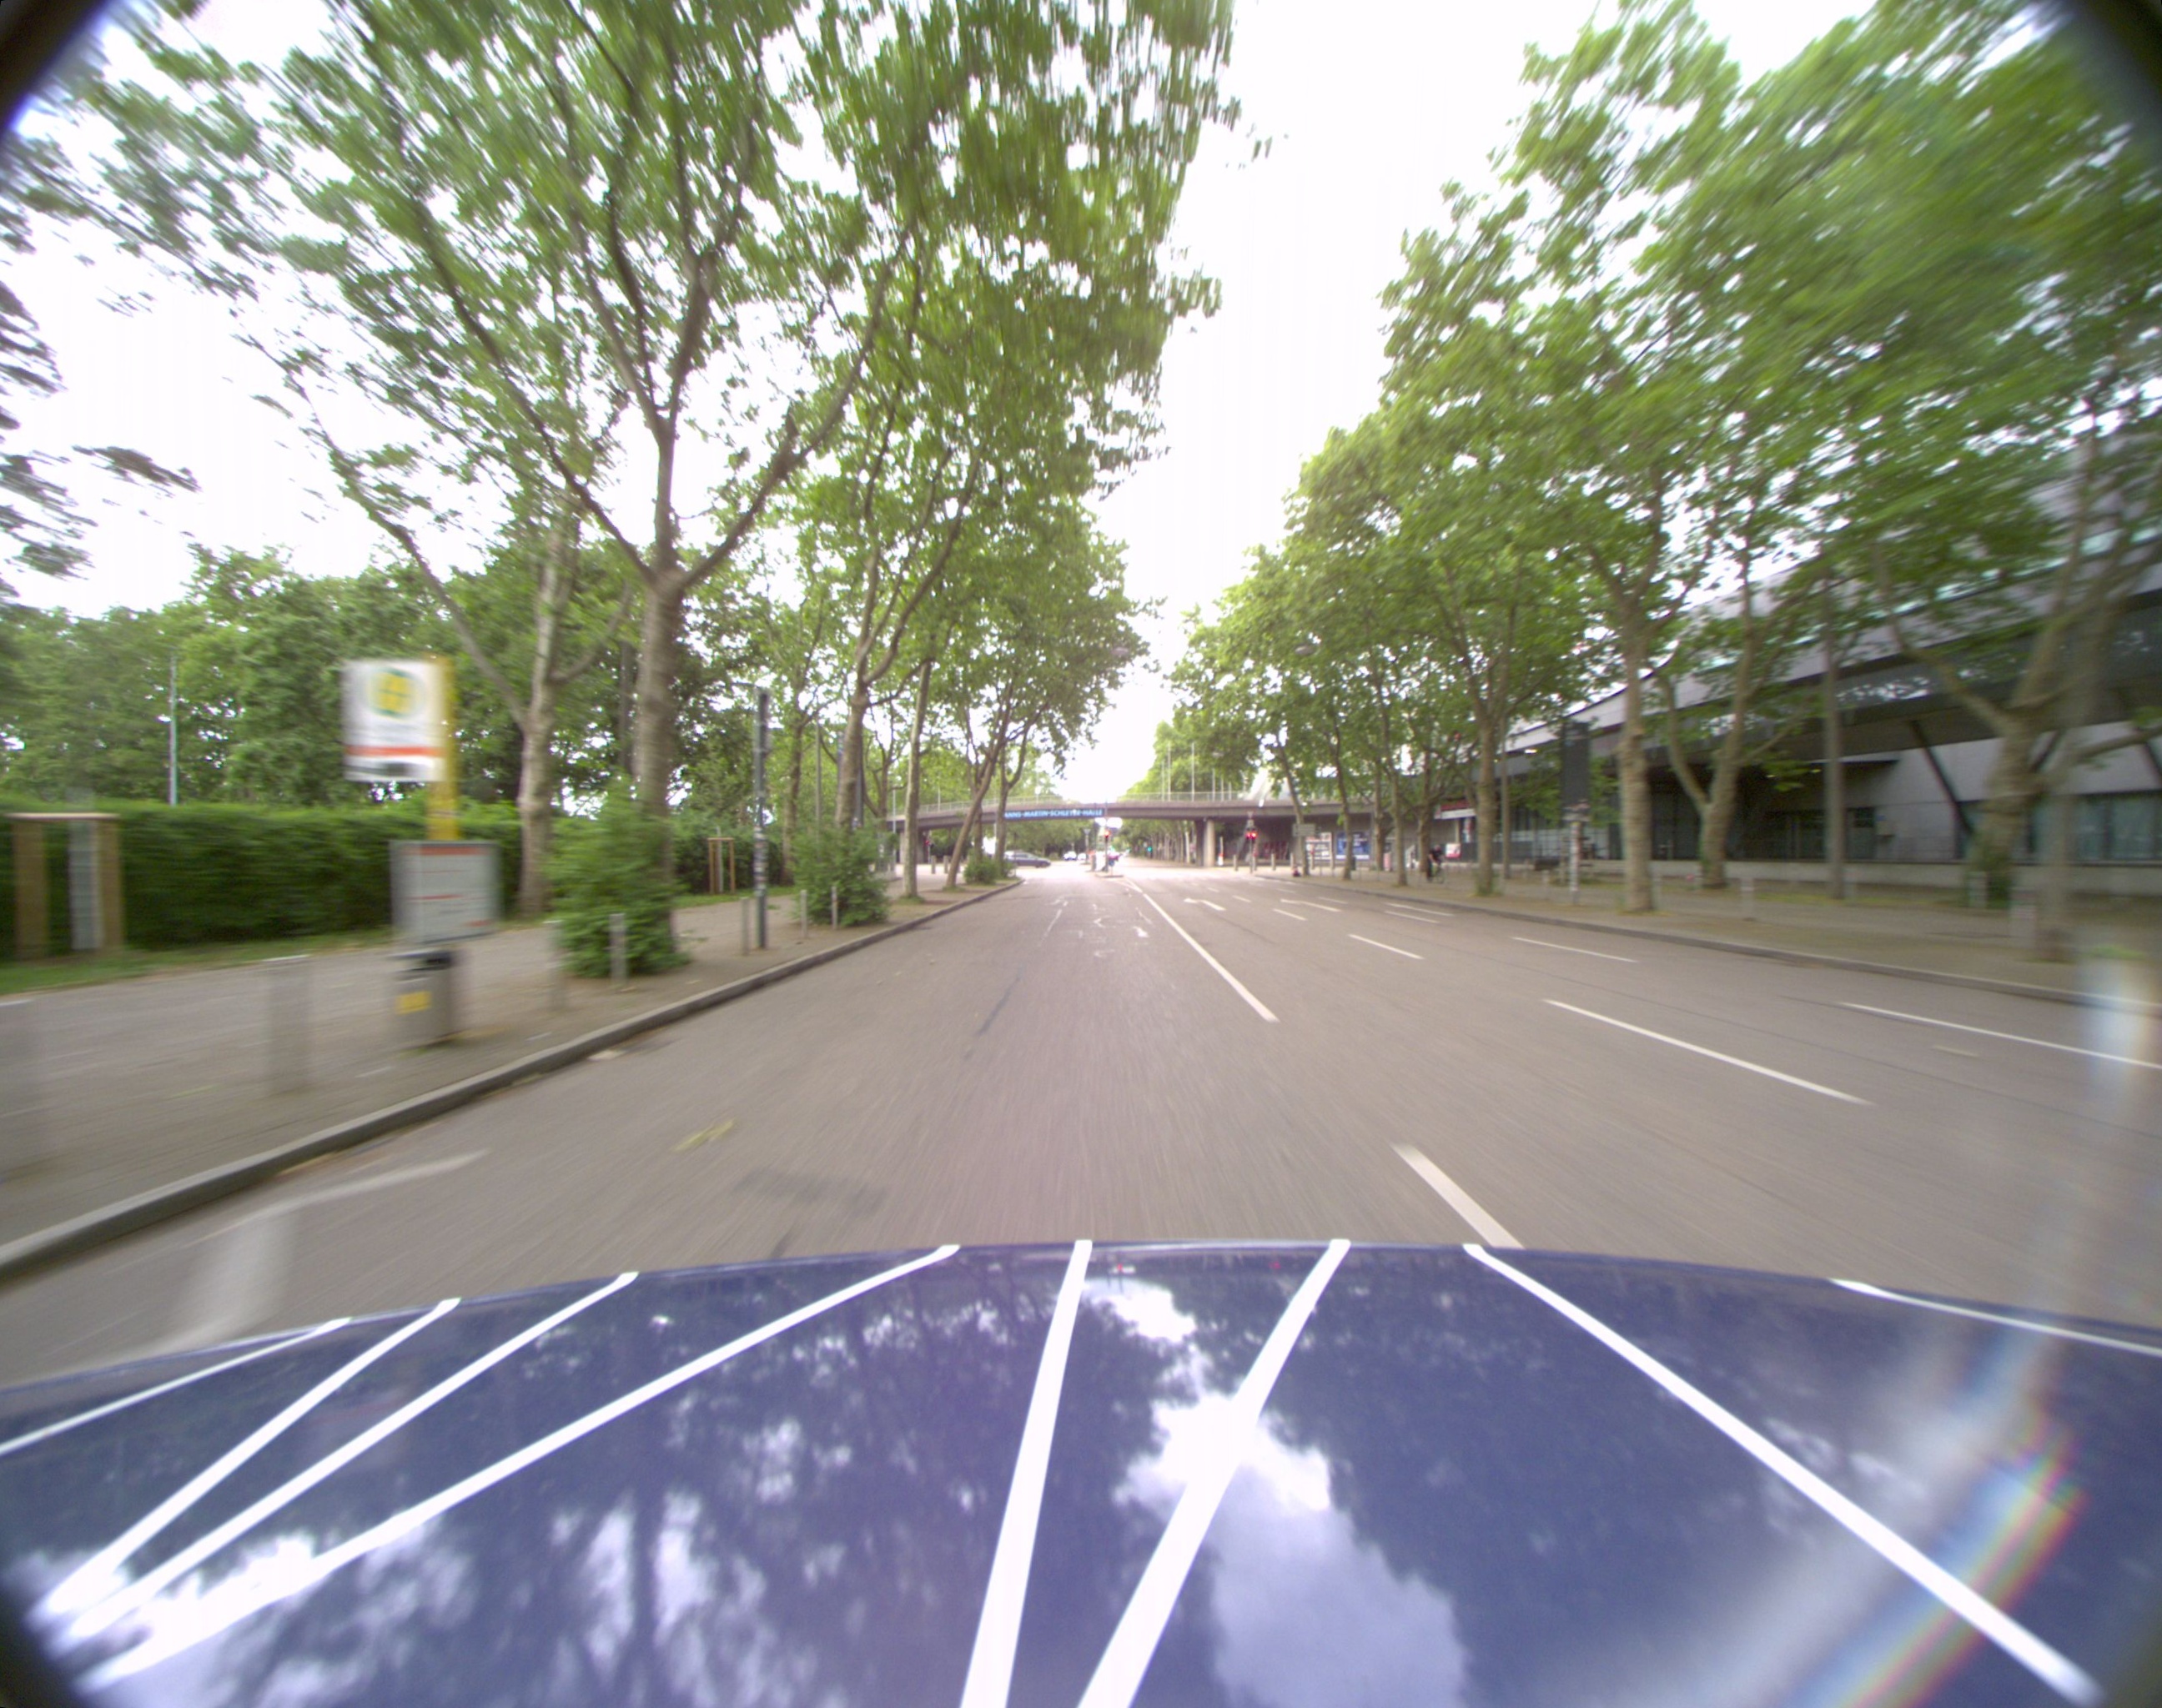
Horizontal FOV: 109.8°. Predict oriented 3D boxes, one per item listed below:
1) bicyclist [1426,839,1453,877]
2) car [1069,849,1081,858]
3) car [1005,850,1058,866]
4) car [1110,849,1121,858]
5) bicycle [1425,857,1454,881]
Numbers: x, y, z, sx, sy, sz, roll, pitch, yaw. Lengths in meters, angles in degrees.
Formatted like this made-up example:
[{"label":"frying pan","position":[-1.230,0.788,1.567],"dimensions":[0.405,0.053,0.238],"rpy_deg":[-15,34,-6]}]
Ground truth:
[{"label":"bicyclist","position":[16.123,0.164,34.161],"dimensions":[0.766,1.688,0.854],"rpy_deg":[1,3,-1]},{"label":"car","position":[-1.039,-0.077,134.700],"dimensions":[1.761,1.356,3.717],"rpy_deg":[1,2,6]},{"label":"car","position":[-4.741,0.349,73.178],"dimensions":[4.692,1.437,1.883],"rpy_deg":[-1,1,-25]},{"label":"car","position":[6.106,-0.037,133.187],"dimensions":[1.833,1.443,4.076],"rpy_deg":[0,1,3]},{"label":"bicycle","position":[16.113,0.670,34.179],"dimensions":[0.516,1.007,1.537],"rpy_deg":[1,2,-1]}]
